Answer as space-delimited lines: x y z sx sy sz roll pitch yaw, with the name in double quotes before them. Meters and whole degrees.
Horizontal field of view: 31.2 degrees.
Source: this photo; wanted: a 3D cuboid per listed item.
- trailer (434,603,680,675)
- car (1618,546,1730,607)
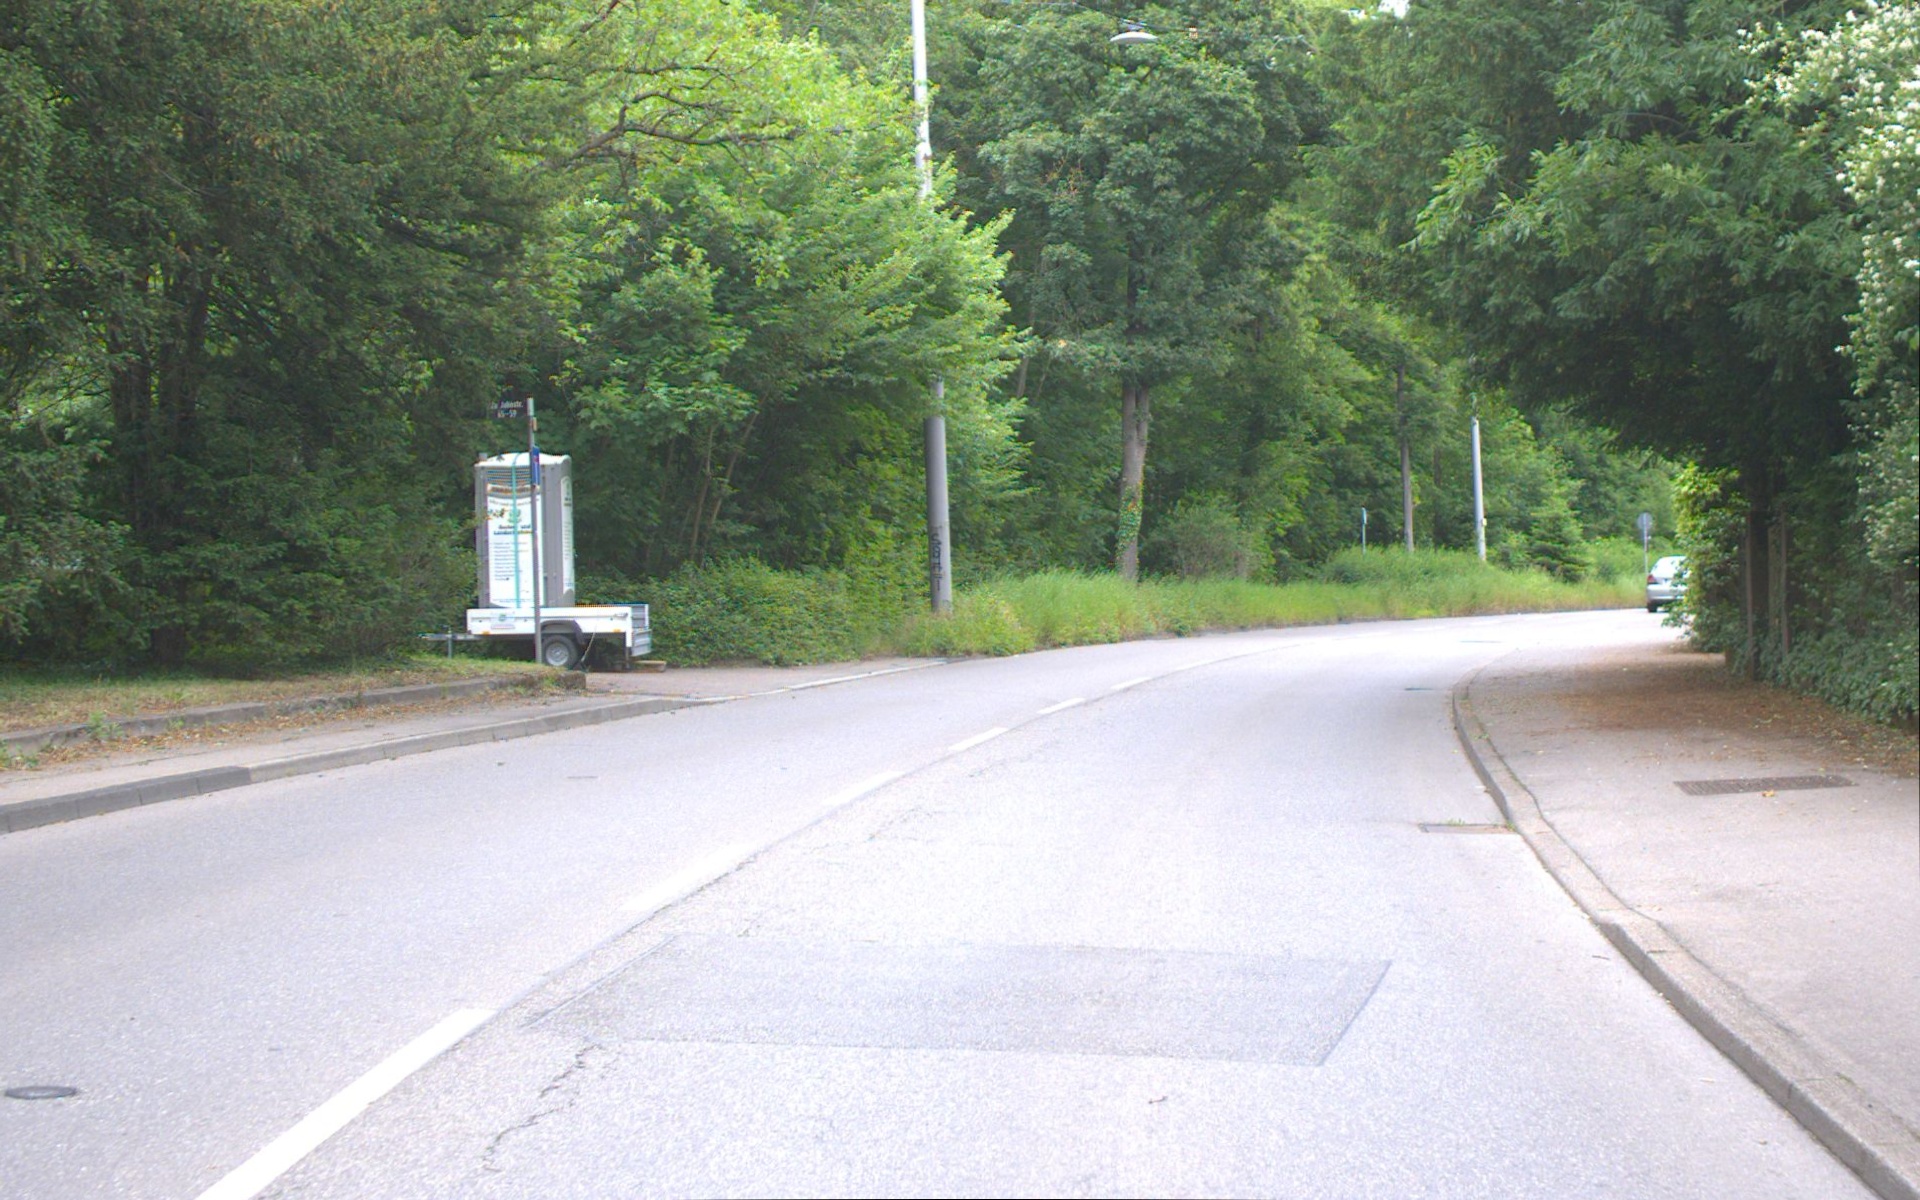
"trailer" -5.070 0.487 43.442 2.954 0.826 1.476 -1 0 -2
"car" 18.360 -0.614 88.313 1.996 1.481 3.995 -1 0 24
